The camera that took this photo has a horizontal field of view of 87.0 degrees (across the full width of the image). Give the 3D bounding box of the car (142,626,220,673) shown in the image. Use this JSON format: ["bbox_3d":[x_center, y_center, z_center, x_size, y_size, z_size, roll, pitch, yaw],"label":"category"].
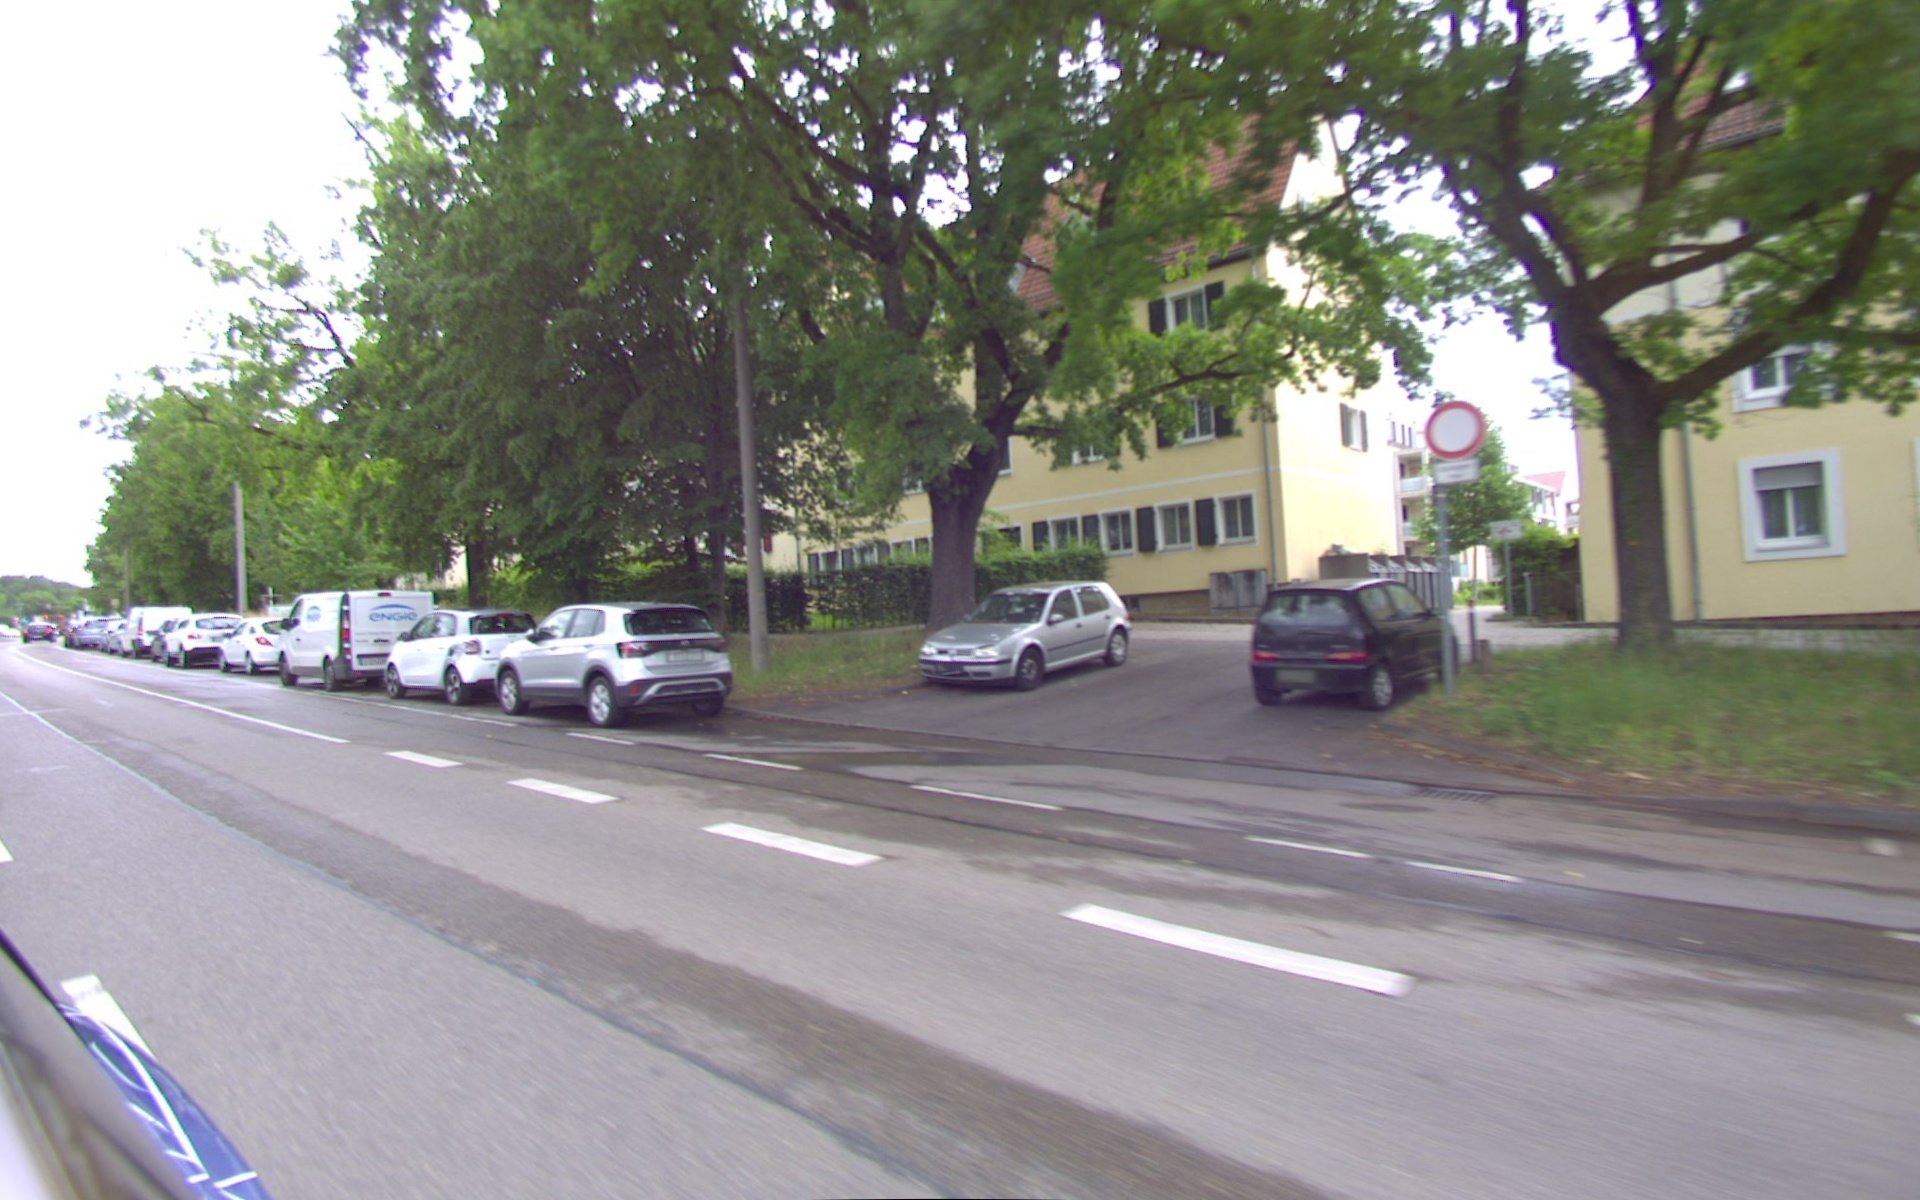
[{"bbox_3d":[-26.823,1.651,34.789,1.654,1.499,4.047,1,-2,-44],"label":"car"}]

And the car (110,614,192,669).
[{"bbox_3d":[-31.241,1.597,39.028,5.155,1.945,1.749,-3,0,43],"label":"car"}]

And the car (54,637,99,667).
[{"bbox_3d":[-50.933,2.949,58.308,1.852,1.582,4.656,-2,0,-42],"label":"car"}]

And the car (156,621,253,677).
[{"bbox_3d":[-23.123,1.453,30.916,4.281,1.576,1.655,-2,-1,43],"label":"car"}]

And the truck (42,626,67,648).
[{"bbox_3d":[-152.895,6.212,170.998,2.789,3.507,7.836,-1,-1,-40],"label":"truck"}]

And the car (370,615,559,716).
[{"bbox_3d":[-8.508,1.052,17.255,3.718,1.493,1.565,-2,-1,41],"label":"car"}]

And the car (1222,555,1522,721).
[{"bbox_3d":[5.278,0.342,12.628,1.888,1.465,4.383,-2,4,45],"label":"car"}]

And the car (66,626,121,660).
[{"bbox_3d":[-43.850,2.157,51.189,4.136,1.604,1.748,-2,-1,44],"label":"car"}]

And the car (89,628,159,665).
[{"bbox_3d":[-35.646,1.989,43.111,3.947,1.444,1.618,-3,0,41],"label":"car"}]

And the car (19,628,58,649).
[{"bbox_3d":[-67.885,2.847,74.578,1.615,1.478,4.010,0,-1,-35],"label":"car"}]

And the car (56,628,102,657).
[{"bbox_3d":[-47.690,2.301,54.747,1.747,1.458,4.154,-1,-1,-43],"label":"car"}]

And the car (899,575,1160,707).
[{"bbox_3d":[1.231,0.535,15.846,1.867,1.461,4.391,-2,4,38],"label":"car"}]

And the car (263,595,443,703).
[{"bbox_3d":[-12.712,0.959,21.043,5.126,1.978,1.846,-2,-1,43],"label":"car"}]

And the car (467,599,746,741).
[{"bbox_3d":[-4.955,0.869,13.905,4.155,1.646,1.748,-2,-1,40],"label":"car"}]

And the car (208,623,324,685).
[{"bbox_3d":[-18.634,1.407,27.121,4.089,1.490,1.644,-2,0,42],"label":"car"}]

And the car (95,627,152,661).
[{"bbox_3d":[-38.868,2.041,46.978,1.747,1.507,4.360,1,-2,-44],"label":"car"}]
